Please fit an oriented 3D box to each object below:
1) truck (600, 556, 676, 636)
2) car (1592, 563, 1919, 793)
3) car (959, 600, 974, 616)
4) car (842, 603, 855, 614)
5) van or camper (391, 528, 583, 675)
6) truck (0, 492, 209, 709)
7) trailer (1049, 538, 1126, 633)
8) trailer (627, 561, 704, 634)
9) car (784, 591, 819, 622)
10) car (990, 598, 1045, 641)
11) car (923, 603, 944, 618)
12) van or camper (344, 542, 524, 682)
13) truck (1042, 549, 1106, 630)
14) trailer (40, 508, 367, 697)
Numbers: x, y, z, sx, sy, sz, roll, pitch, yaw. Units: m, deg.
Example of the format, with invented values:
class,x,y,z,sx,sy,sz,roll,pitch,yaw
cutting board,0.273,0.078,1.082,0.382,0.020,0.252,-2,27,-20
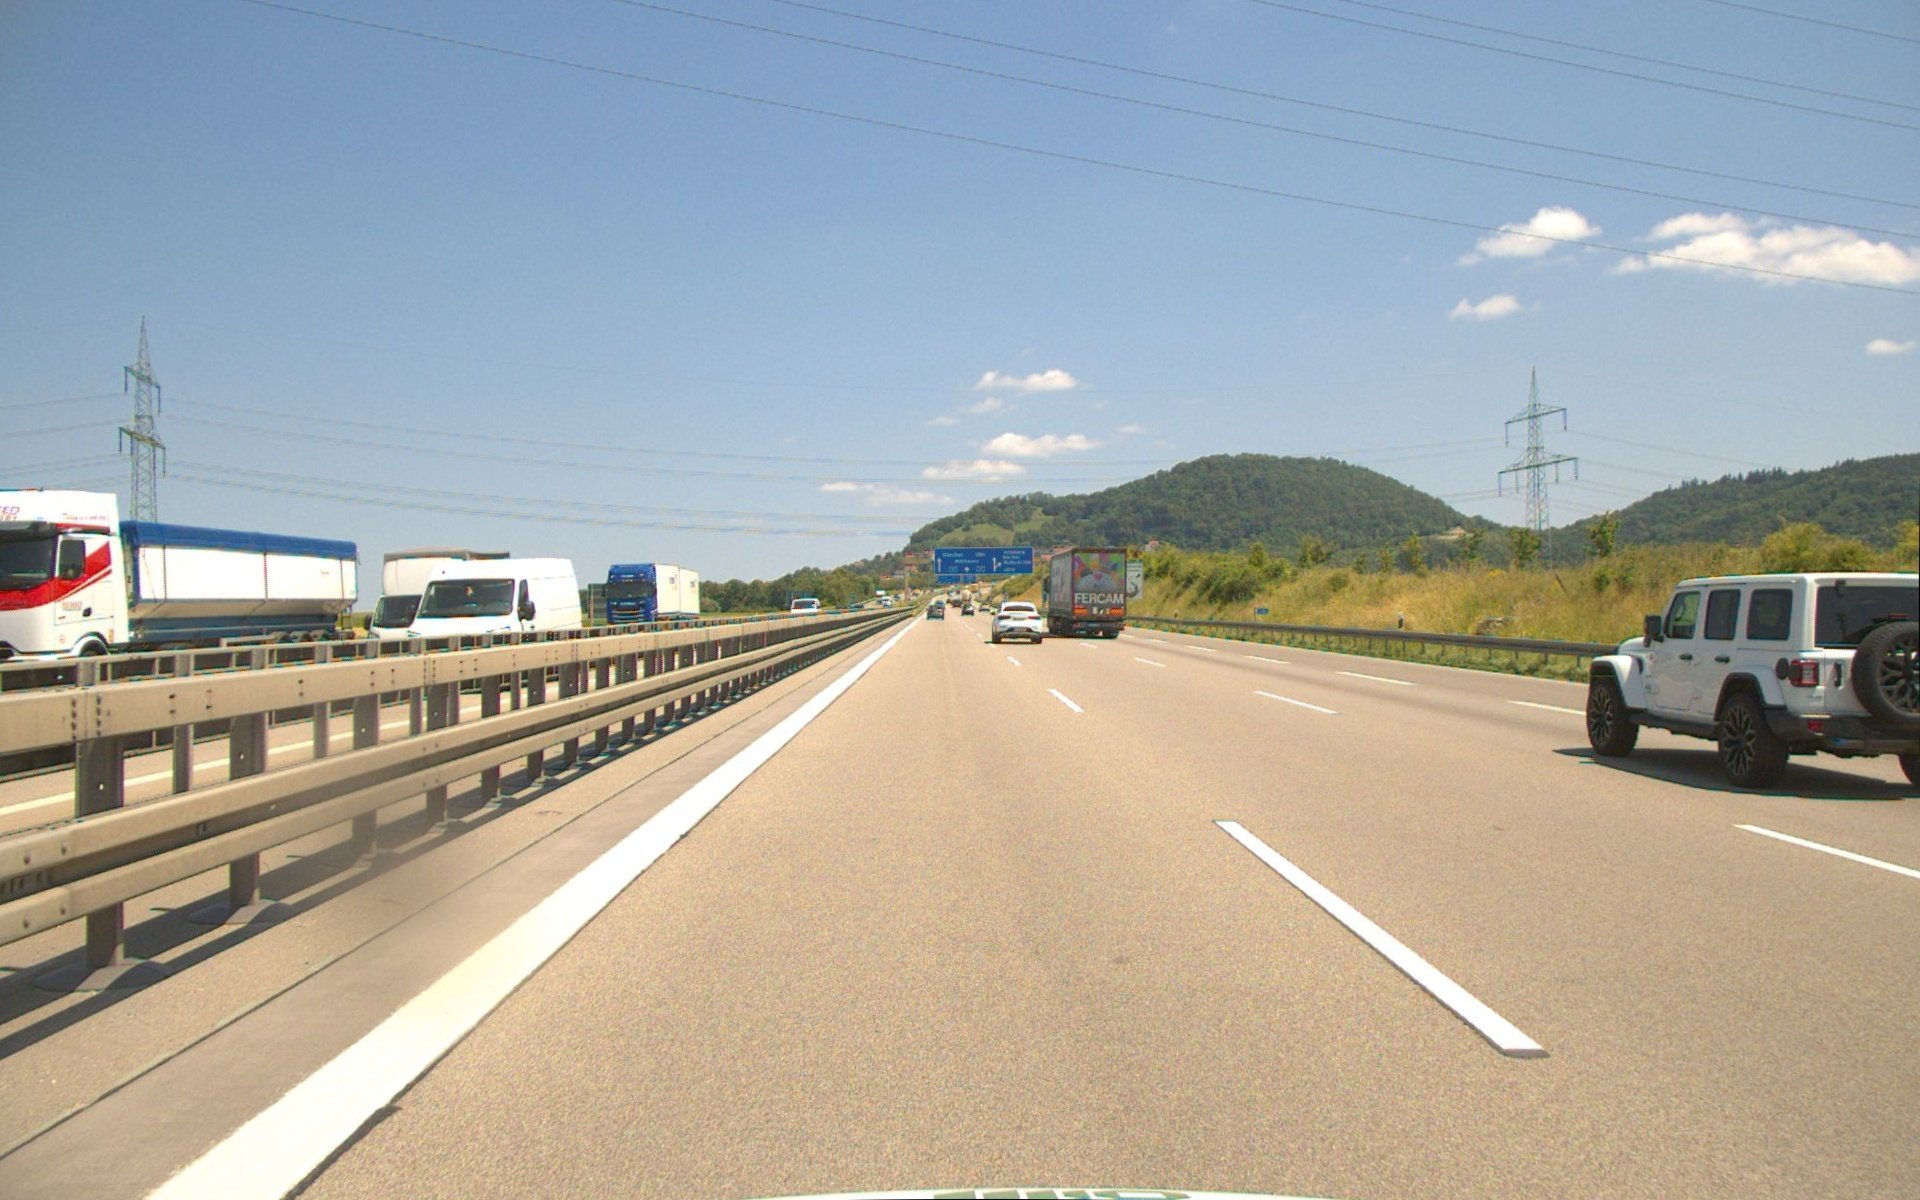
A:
class,x,y,z,sx,sy,sz,roll,pitch,yaw
truck,-17.655,-0.187,91.160,2.763,4.161,7.529,1,-1,-1
car,7.777,0.641,15.537,1.993,1.836,4.250,1,0,-1
car,0.805,0.996,214.277,1.953,2.049,3.999,1,-1,0
car,-16.269,1.298,241.196,1.637,1.465,4.564,-3,-1,-1
van or camper,-9.241,0.046,32.931,2.079,2.620,6.121,1,0,-1
truck,-17.091,0.025,31.705,2.663,3.755,6.055,1,-1,-1
trailer,6.066,-0.603,80.337,2.670,4.228,11.805,1,0,-1
trailer,-17.819,-0.110,100.772,2.775,4.117,11.662,1,0,-1
car,-11.087,0.462,115.950,1.944,2.045,4.648,-2,0,-1
car,2.248,0.759,65.543,1.875,1.608,5.229,1,0,-1
car,-2.562,1.057,159.612,1.953,1.413,3.999,1,0,0
van or camper,-13.378,0.284,42.702,2.293,3.220,7.400,-2,0,-1
truck,5.941,-0.506,87.252,2.697,4.091,6.786,1,-1,-2
trailer,-17.233,0.093,38.912,2.652,3.757,11.356,1,0,-1
